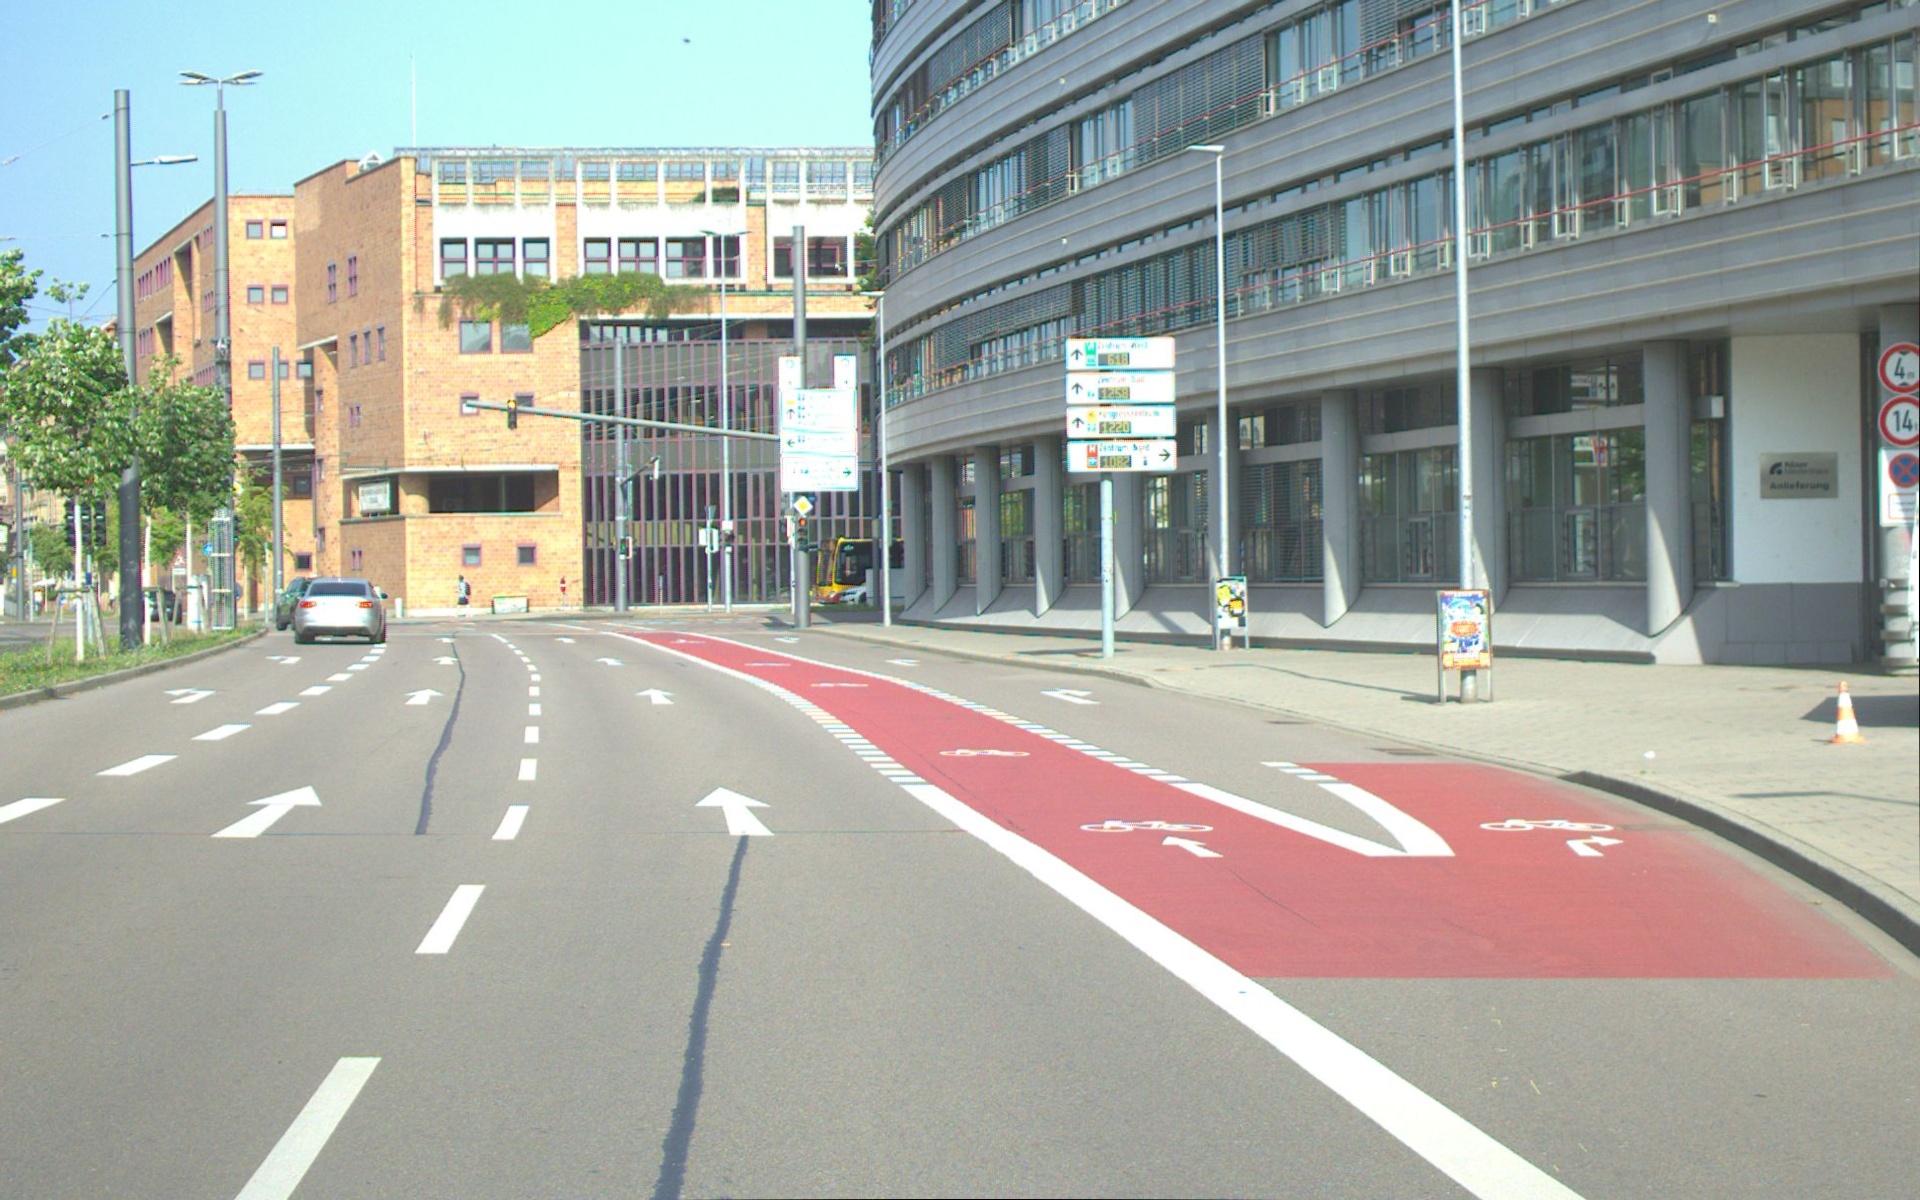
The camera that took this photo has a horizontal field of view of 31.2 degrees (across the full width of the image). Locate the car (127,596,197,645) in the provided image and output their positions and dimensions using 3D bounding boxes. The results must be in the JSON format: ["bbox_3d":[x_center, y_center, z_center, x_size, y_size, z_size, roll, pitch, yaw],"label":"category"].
[{"bbox_3d":[-34.987,0.906,150.629,1.993,2.007,4.000,-1,-1,-28],"label":"car"}]

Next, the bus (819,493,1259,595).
[{"bbox_3d":[3.215,-2.279,140.120,17.605,3.798,2.865,-1,-1,-9],"label":"bus"}]

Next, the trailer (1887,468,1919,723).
[{"bbox_3d":[9.912,-0.100,31.505,2.391,2.144,5.944,-1,1,18],"label":"trailer"}]

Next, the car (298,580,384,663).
[{"bbox_3d":[-13.621,0.490,75.814,1.704,1.749,3.891,-1,-1,-8],"label":"car"}]

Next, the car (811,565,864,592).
[{"bbox_3d":[-4.805,-0.842,134.882,1.951,0.955,1.094,1,-2,-9],"label":"car"}]

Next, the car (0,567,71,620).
[{"bbox_3d":[-31.666,-0.210,113.481,1.998,1.673,3.990,-2,-1,44],"label":"car"}]

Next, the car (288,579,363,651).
[{"bbox_3d":[-18.603,0.455,100.879,1.993,2.007,4.243,-1,-1,-9],"label":"car"}]
